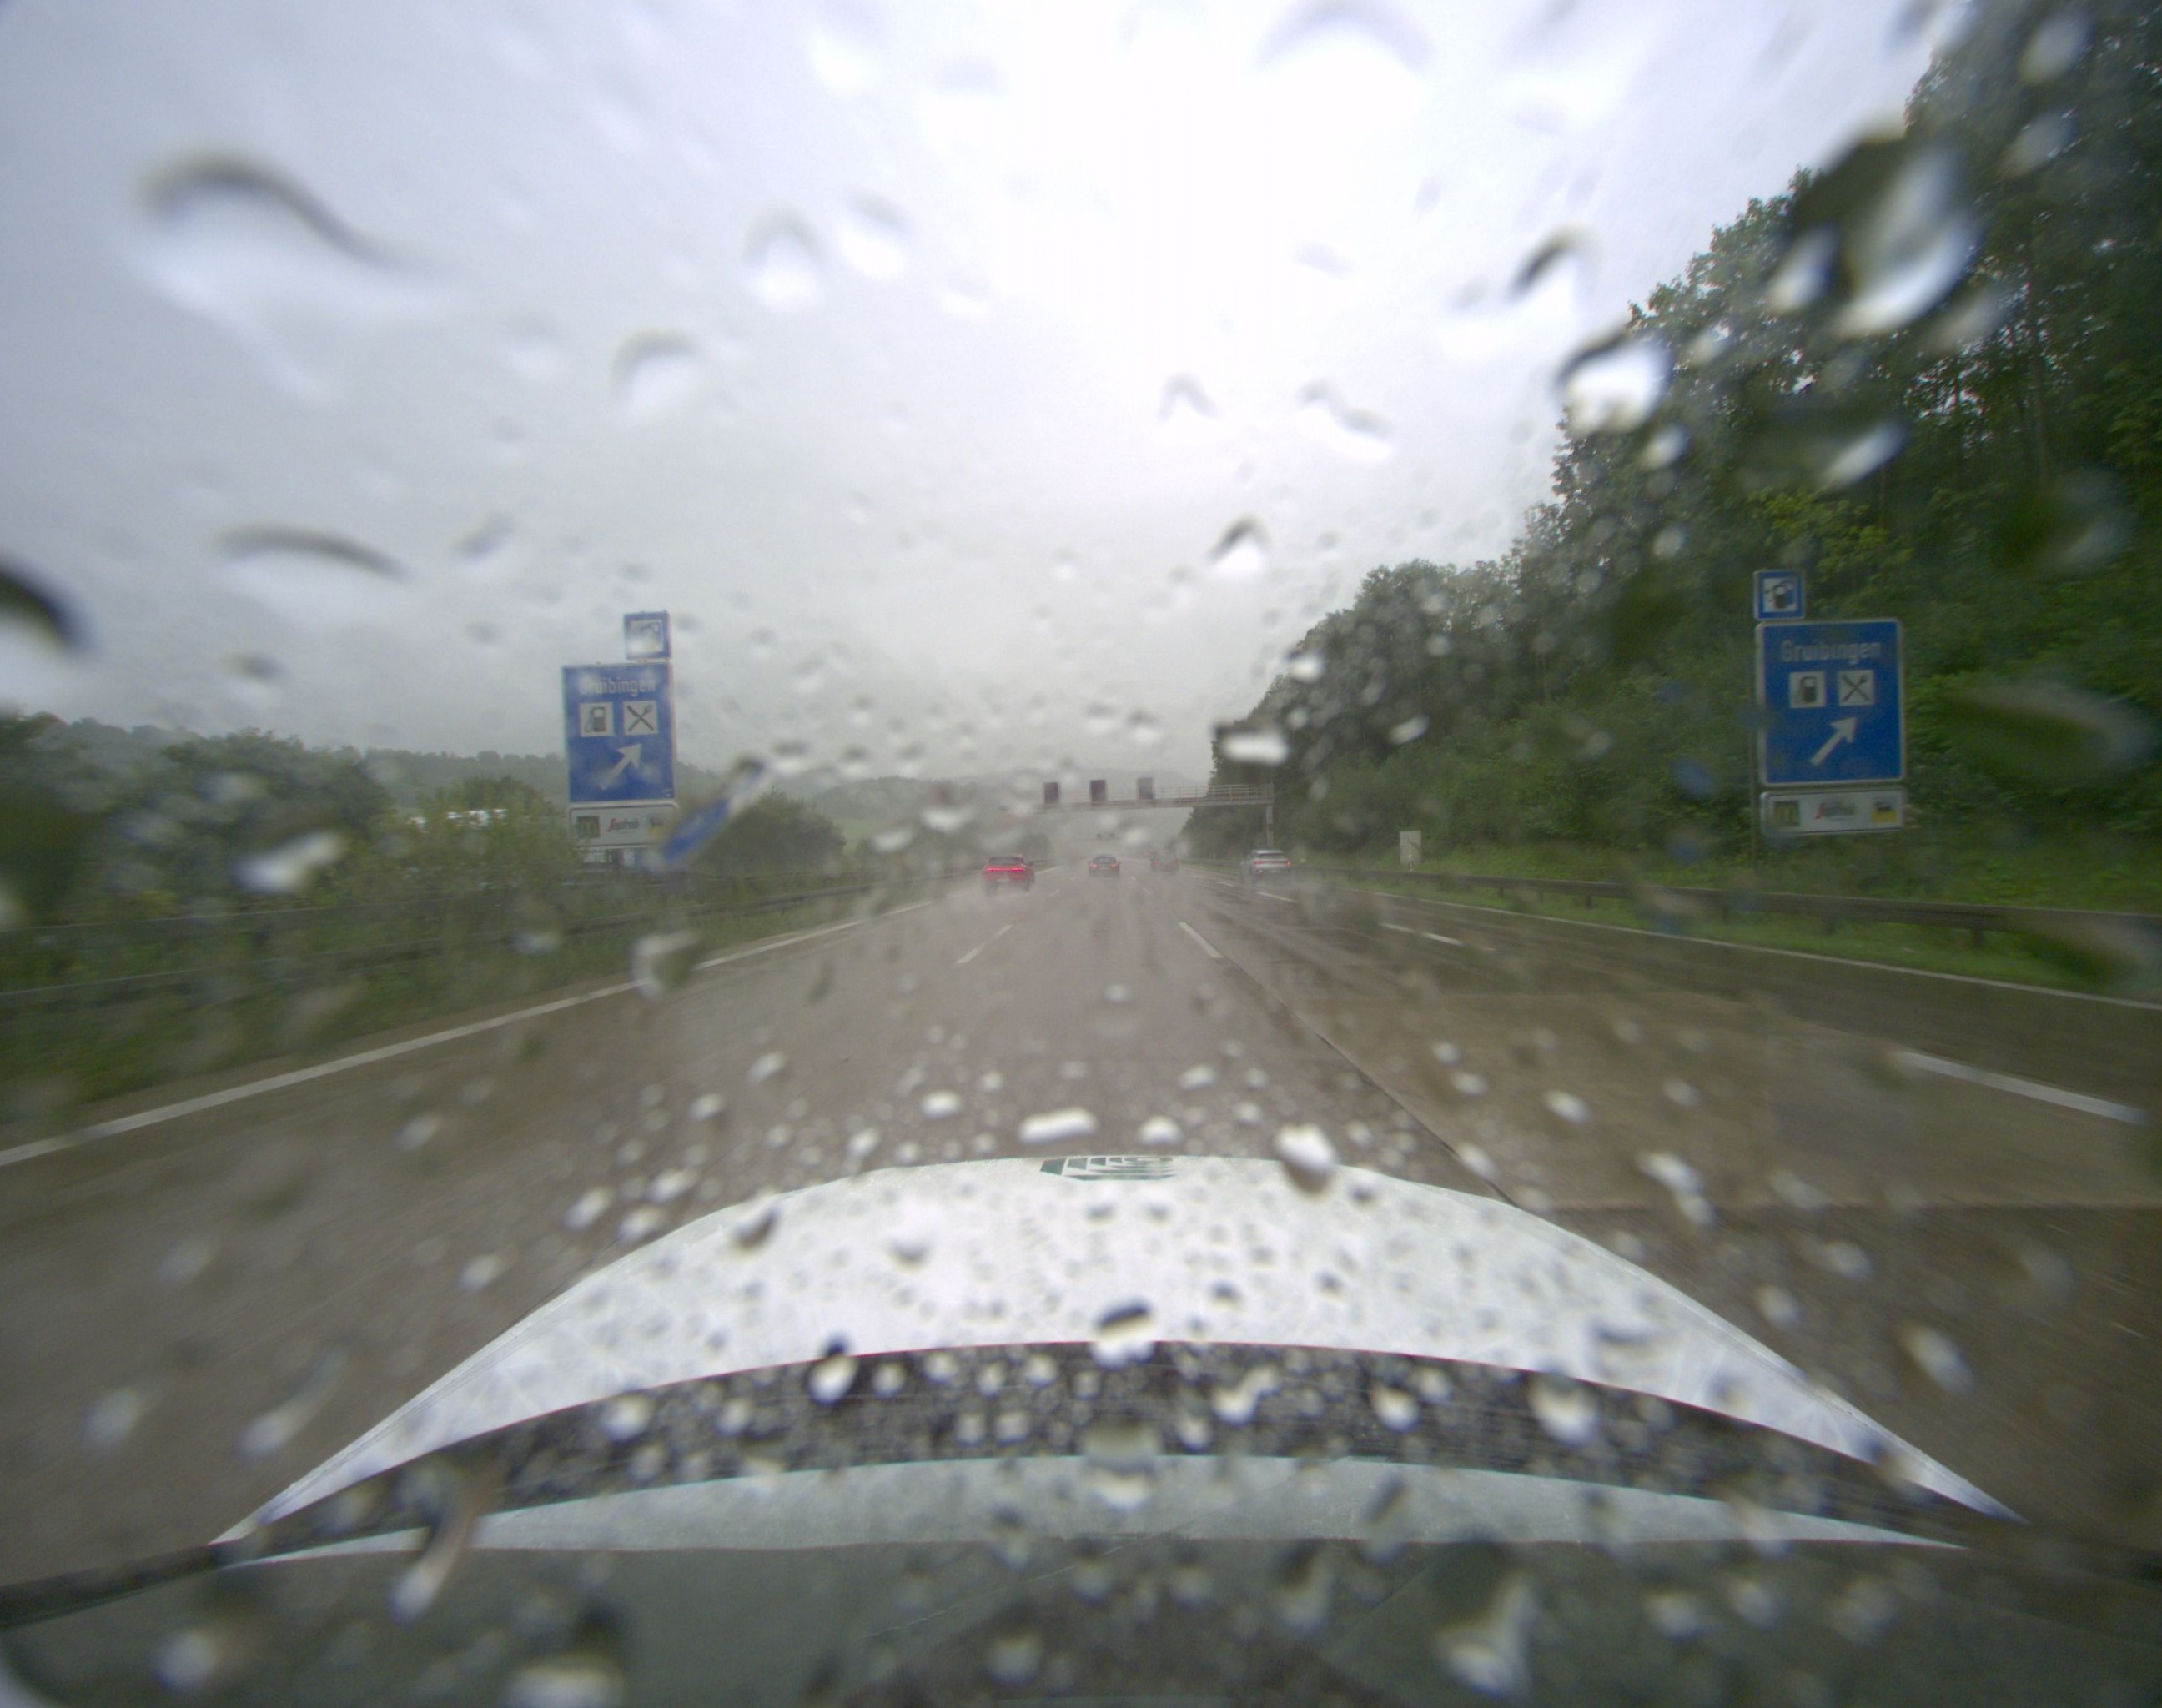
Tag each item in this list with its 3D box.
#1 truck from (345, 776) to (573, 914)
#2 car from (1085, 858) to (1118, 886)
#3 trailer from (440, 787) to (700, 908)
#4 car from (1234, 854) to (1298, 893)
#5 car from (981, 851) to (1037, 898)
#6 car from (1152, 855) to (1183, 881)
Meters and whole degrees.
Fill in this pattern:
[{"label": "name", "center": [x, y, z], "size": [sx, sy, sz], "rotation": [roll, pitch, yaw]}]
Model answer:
[{"label": "truck", "center": [-20.745, -0.279, 27.665], "size": [3.361, 4.184, 5.521], "rotation": [-1, 0, 1]}, {"label": "car", "center": [1.204, 1.028, 47.588], "size": [1.852, 1.589, 4.002], "rotation": [0, 0, 2]}, {"label": "trailer", "center": [-20.524, -0.240, 34.170], "size": [3.342, 4.173, 11.407], "rotation": [-1, 0, 2]}, {"label": "car", "center": [8.855, 0.876, 39.442], "size": [1.986, 1.750, 5.665], "rotation": [0, 0, 2]}, {"label": "car", "center": [-2.949, 0.806, 34.046], "size": [1.878, 1.816, 4.001], "rotation": [-1, 0, 1]}, {"label": "car", "center": [6.203, 0.945, 58.670], "size": [1.964, 1.760, 4.002], "rotation": [-1, 0, 2]}]
